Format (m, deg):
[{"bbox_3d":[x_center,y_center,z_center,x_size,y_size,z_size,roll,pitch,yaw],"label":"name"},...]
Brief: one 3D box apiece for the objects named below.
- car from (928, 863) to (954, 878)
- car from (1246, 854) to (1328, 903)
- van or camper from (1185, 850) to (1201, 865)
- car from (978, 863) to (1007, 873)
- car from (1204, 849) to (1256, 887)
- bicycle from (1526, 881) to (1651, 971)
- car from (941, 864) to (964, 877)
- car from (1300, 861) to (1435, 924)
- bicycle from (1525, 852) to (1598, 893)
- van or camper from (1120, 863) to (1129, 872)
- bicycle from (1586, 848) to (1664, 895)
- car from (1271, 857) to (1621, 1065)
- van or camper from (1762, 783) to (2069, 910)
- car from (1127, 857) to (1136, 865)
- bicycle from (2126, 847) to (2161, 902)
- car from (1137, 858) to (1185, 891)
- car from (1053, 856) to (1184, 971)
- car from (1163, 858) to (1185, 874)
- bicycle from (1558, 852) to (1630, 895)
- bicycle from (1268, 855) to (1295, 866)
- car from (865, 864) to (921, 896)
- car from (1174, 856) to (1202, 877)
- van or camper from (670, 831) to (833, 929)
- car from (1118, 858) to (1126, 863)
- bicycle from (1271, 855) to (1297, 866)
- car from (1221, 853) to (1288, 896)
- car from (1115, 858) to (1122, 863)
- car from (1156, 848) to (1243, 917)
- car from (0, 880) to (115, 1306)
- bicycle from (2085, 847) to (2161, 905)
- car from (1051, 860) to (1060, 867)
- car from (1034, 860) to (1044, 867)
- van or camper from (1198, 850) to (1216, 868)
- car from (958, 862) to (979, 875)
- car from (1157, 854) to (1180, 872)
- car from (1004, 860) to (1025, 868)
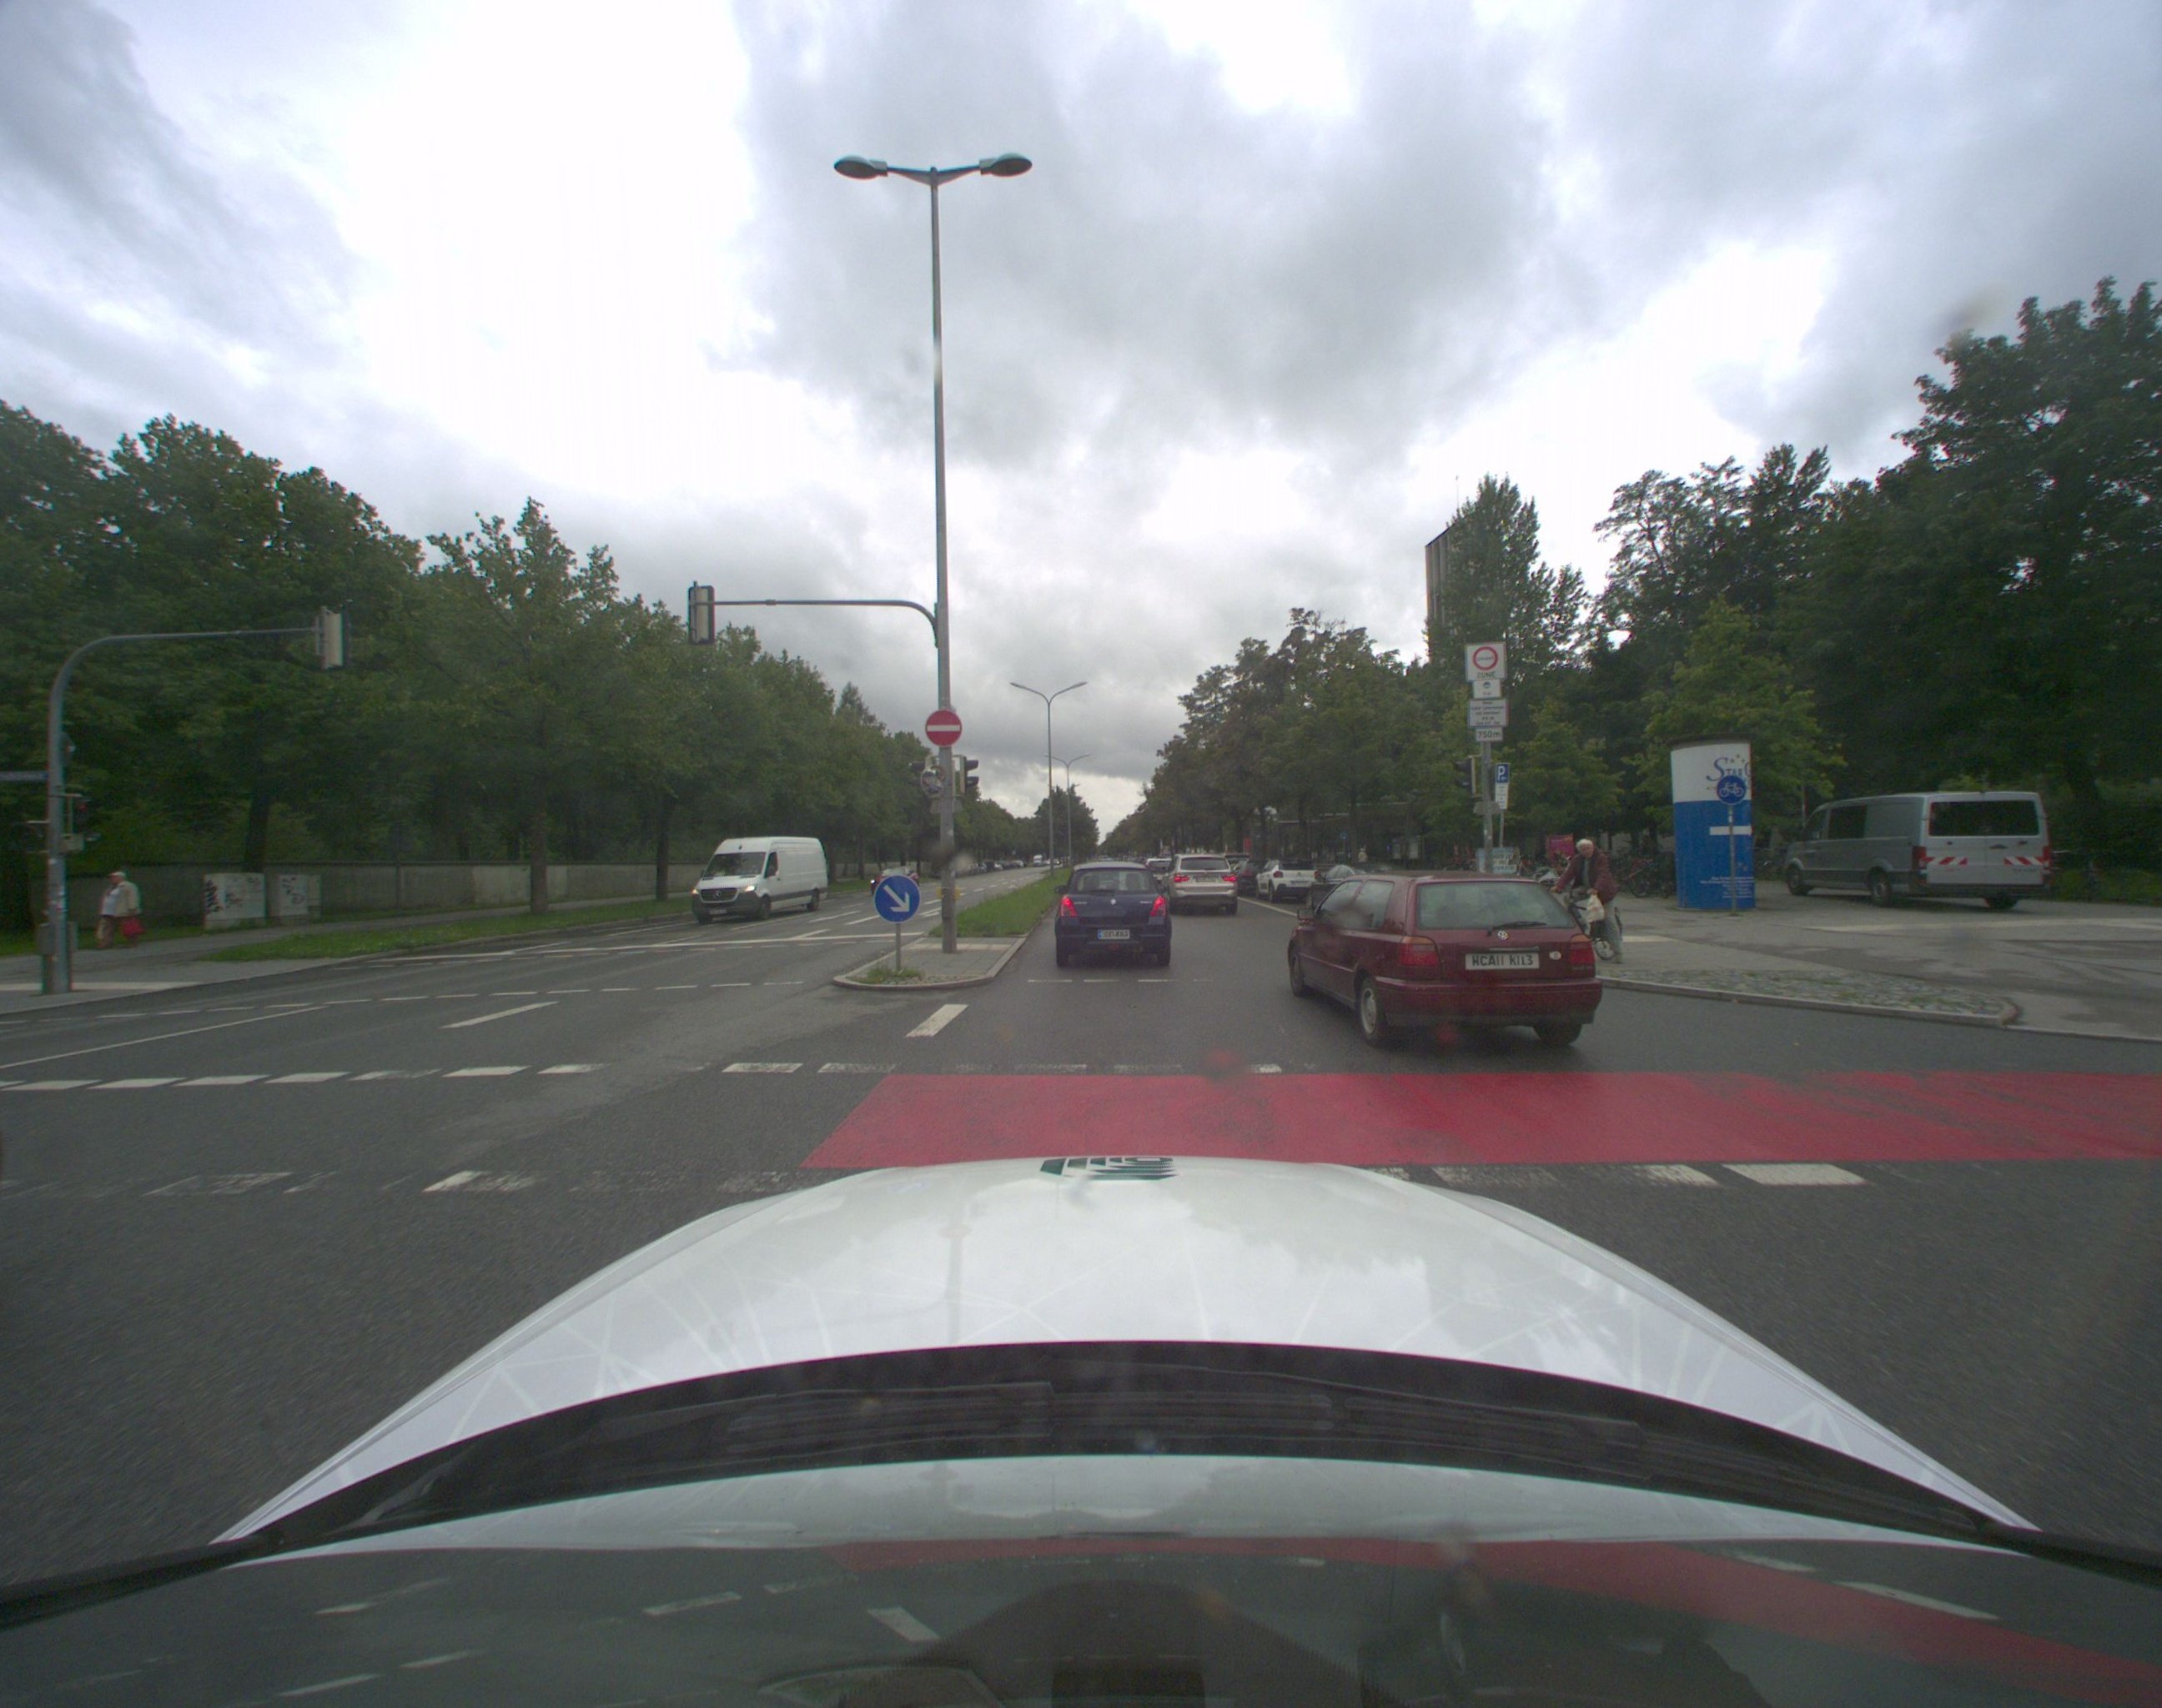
[{"bbox_3d":[-14.446,1.715,84.293,1.793,1.490,4.916,0,0,1],"label":"car"},{"bbox_3d":[7.081,0.809,28.422,1.707,1.547,4.381,-1,0,0],"label":"car"},{"bbox_3d":[19.454,0.589,141.798,2.017,2.558,5.958,-2,0,2],"label":"van or camper"},{"bbox_3d":[-13.851,2.156,127.598,4.016,1.354,1.831,-1,0,-34],"label":"car"},{"bbox_3d":[7.152,0.634,39.557,1.741,1.724,4.907,-1,0,1],"label":"car"},{"bbox_3d":[7.061,0.948,11.297,1.955,1.081,0.740,-1,-1,-35],"label":"bicycle"},{"bbox_3d":[-14.242,1.809,90.354,1.653,1.396,4.708,0,0,1],"label":"car"},{"bbox_3d":[6.946,0.868,20.282,1.705,1.360,4.619,-1,0,-1],"label":"car"},{"bbox_3d":[14.739,0.561,25.033,1.795,1.142,0.569,-3,-1,10],"label":"bicycle"},{"bbox_3d":[9.801,3.019,185.767,1.937,1.975,4.308,-1,0,2],"label":"van or camper"},{"bbox_3d":[15.345,0.497,22.982,1.940,1.212,0.565,-3,-1,-11],"label":"bicycle"},{"bbox_3d":[3.085,0.776,7.834,1.616,1.454,3.950,-1,0,1],"label":"car"},{"bbox_3d":[17.885,-0.123,18.060,2.124,2.296,6.229,-2,0,19],"label":"van or camper"},{"bbox_3d":[9.777,1.401,157.870,1.678,1.525,4.458,0,0,2],"label":"car"},{"bbox_3d":[22.954,0.428,16.572,0.693,1.153,2.131,-2,0,4],"label":"bicycle"},{"bbox_3d":[3.739,0.961,38.888,1.844,1.447,4.096,-1,0,0],"label":"car"},{"bbox_3d":[0.510,0.833,13.262,1.783,1.555,3.999,-1,0,0],"label":"car"},{"bbox_3d":[8.661,1.074,76.089,1.628,1.439,4.304,-1,0,0],"label":"car"},{"bbox_3d":[14.835,0.554,23.564,1.807,1.142,0.565,-3,-1,-11],"label":"bicycle"},{"bbox_3d":[20.483,0.676,83.172,2.533,1.089,0.647,-2,-1,0],"label":"bicycle"},{"bbox_3d":[-10.052,1.366,43.920,1.737,1.452,4.658,-4,0,1],"label":"car"},{"bbox_3d":[8.368,0.948,63.840,1.711,1.508,4.224,-1,0,1],"label":"car"},{"bbox_3d":[-10.385,0.754,26.536,2.170,2.647,6.953,-3,0,2],"label":"van or camper"},{"bbox_3d":[11.227,1.787,223.809,1.844,1.447,4.096,-1,0,0],"label":"car"},{"bbox_3d":[20.463,0.672,82.102,2.533,1.089,0.647,-2,-1,0],"label":"bicycle"},{"bbox_3d":[6.971,0.768,33.155,1.741,1.547,4.642,-3,0,1],"label":"car"},{"bbox_3d":[10.971,1.825,237.662,1.844,1.447,4.096,-1,0,0],"label":"car"},{"bbox_3d":[3.270,0.755,23.231,1.844,1.743,4.096,-1,0,0],"label":"car"},{"bbox_3d":[-4.613,0.854,1.296,1.634,1.487,3.779,-2,0,-1],"label":"car"},{"bbox_3d":[22.133,0.434,16.630,0.713,1.153,2.131,-2,0,4],"label":"bicycle"},{"bbox_3d":[-6.342,2.305,202.257,1.907,1.542,4.186,-2,0,0],"label":"car"},{"bbox_3d":[-9.786,2.307,190.063,1.907,1.542,4.186,-2,0,0],"label":"car"},{"bbox_3d":[19.339,0.753,124.948,1.986,2.558,5.958,-2,0,2],"label":"van or camper"},{"bbox_3d":[-13.644,1.797,98.918,1.563,1.503,4.309,0,0,5],"label":"car"},{"bbox_3d":[8.756,0.916,81.752,1.780,1.675,4.595,-1,0,0],"label":"car"},{"bbox_3d":[-14.034,2.169,172.416,4.123,1.585,1.900,-1,0,-32],"label":"car"}]
